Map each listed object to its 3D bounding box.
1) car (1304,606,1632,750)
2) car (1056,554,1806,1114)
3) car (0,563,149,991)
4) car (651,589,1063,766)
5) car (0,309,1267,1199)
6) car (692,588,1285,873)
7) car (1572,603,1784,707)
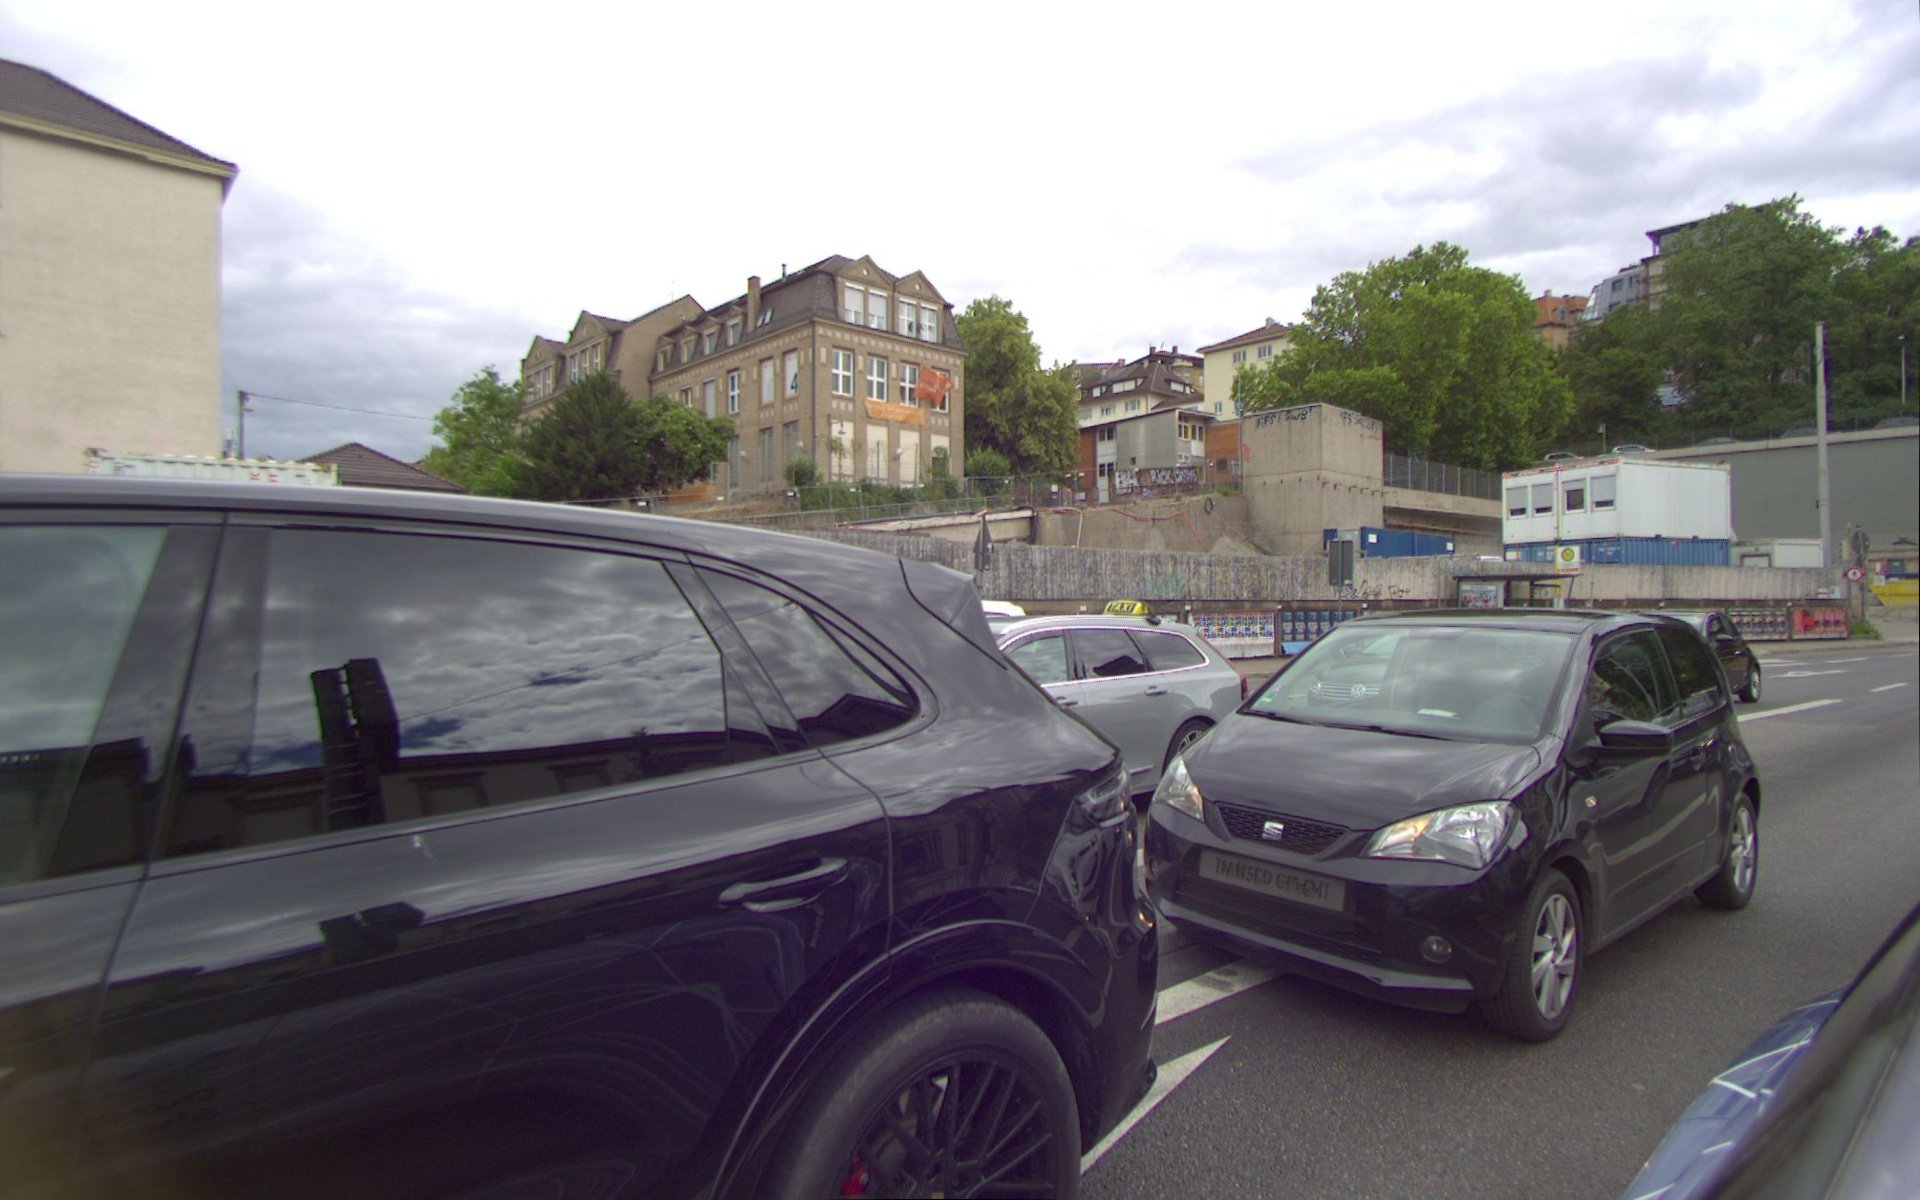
[{"bbox_3d":[6.014,0.774,11.801,4.139,1.381,1.827,1,0,-38],"label":"car"},{"bbox_3d":[2.402,0.636,4.714,3.841,1.575,1.661,-1,0,-39],"label":"car"},{"bbox_3d":[-5.072,0.641,3.453,3.581,1.529,1.826,-1,0,-39],"label":"car"},{"bbox_3d":[-0.949,0.638,10.599,4.004,1.484,1.824,-1,0,-42],"label":"car"},{"bbox_3d":[-1.667,0.560,1.663,4.497,1.689,1.998,-1,0,-39],"label":"car"},{"bbox_3d":[0.390,0.662,7.336,4.142,1.484,1.825,-1,0,-40],"label":"car"},{"bbox_3d":[11.476,0.804,16.111,3.711,1.478,1.721,1,-2,-38],"label":"car"}]
